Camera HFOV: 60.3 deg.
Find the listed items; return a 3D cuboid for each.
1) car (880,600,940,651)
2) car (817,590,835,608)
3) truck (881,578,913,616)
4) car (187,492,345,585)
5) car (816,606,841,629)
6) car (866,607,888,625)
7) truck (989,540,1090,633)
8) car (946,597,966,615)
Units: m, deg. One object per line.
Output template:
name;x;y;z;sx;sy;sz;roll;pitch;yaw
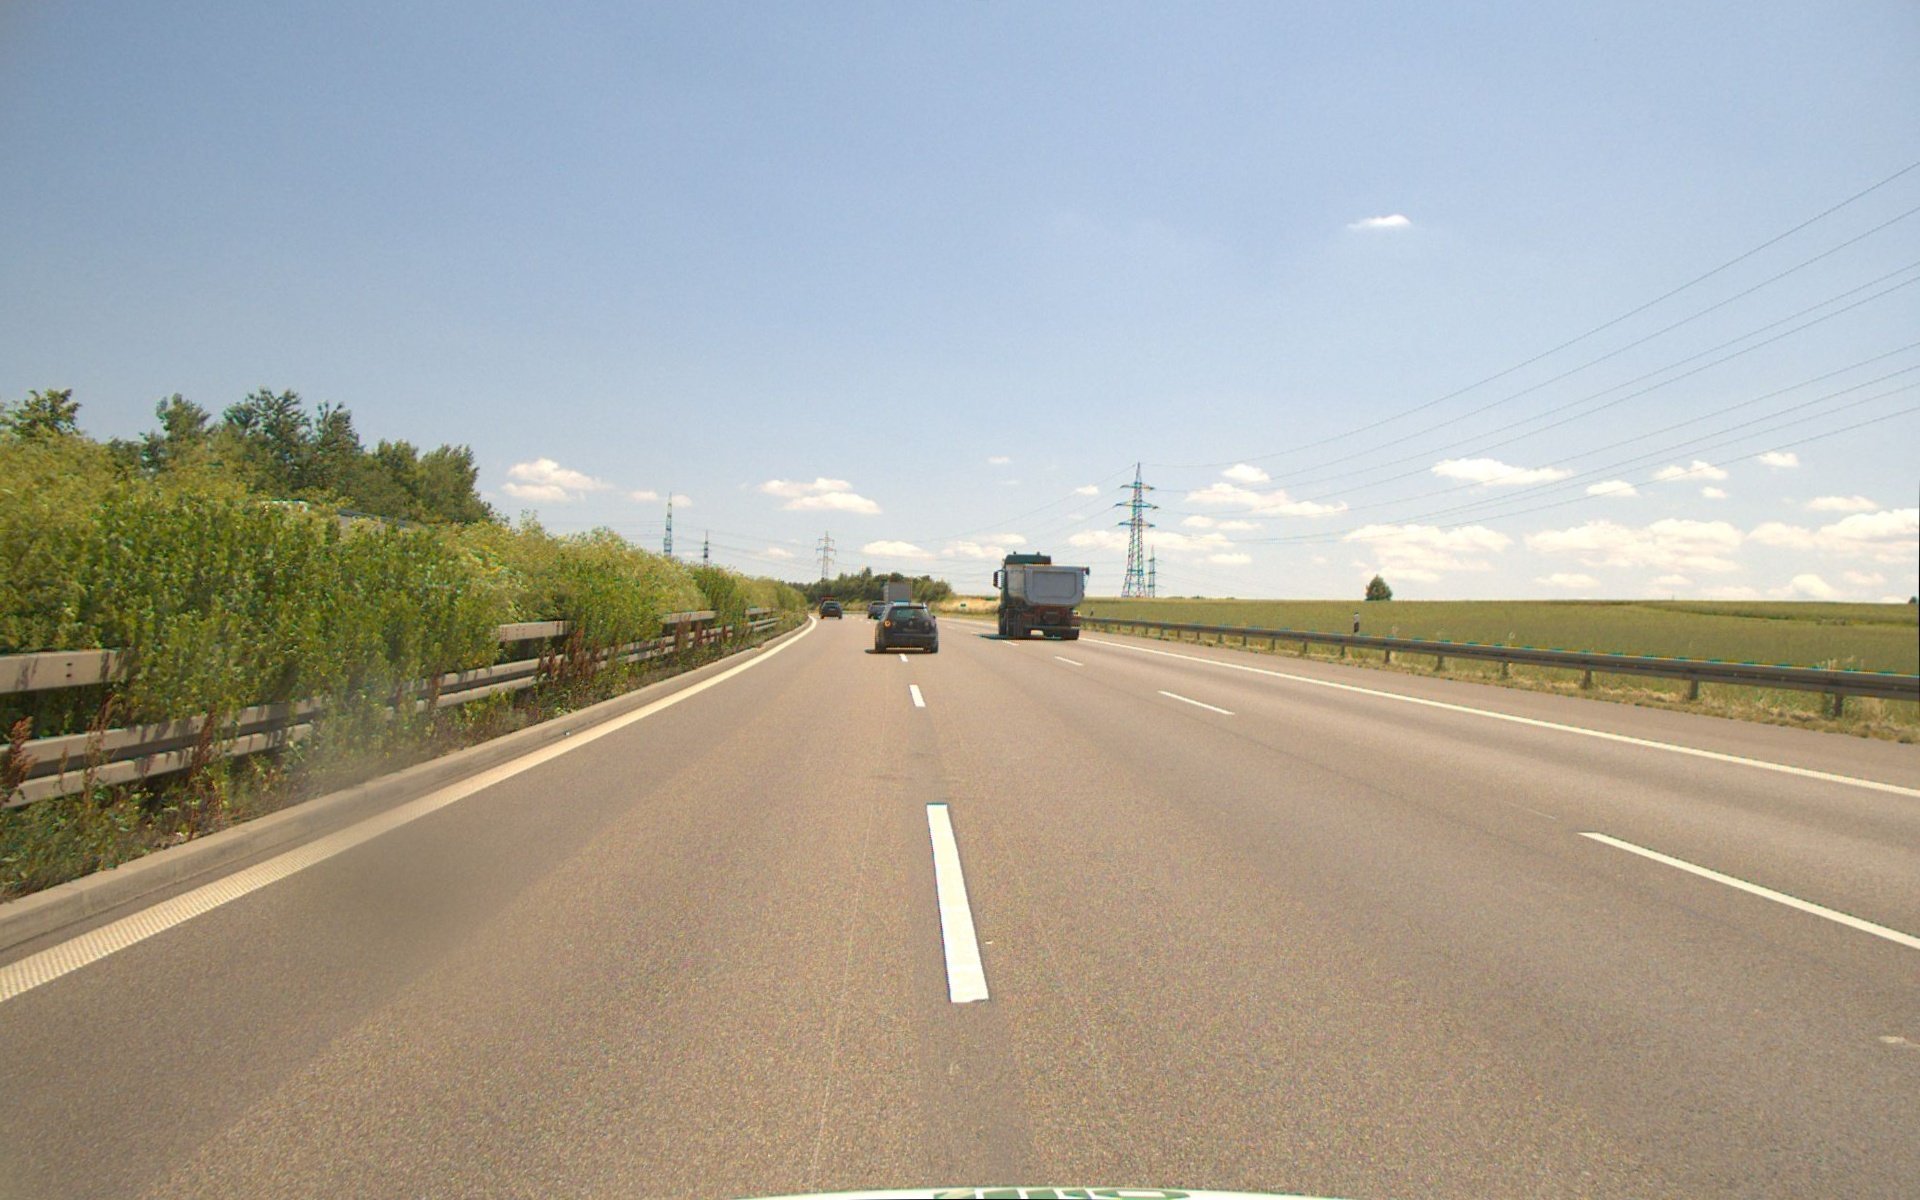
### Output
car;-1.503;0.736;49.588;1.721;1.454;3.998;0;0;-2
car;-14.322;-0.089;176.924;1.864;1.959;3.996;0;0;-5
truck;-6.880;-0.284;180.661;3.158;3.993;9.052;1;-1;-4
car;-20.238;-1.740;48.564;2.518;2.495;5.510;0;0;-3
car;-10.917;1.465;137.929;1.954;1.892;3.997;0;0;-3
car;-7.429;1.409;147.486;1.803;1.568;3.910;0;0;-5
truck;3.350;-0.526;73.462;2.809;3.789;12.749;0;0;-5
car;-0.413;0.675;176.802;1.953;1.885;3.998;0;0;-2
